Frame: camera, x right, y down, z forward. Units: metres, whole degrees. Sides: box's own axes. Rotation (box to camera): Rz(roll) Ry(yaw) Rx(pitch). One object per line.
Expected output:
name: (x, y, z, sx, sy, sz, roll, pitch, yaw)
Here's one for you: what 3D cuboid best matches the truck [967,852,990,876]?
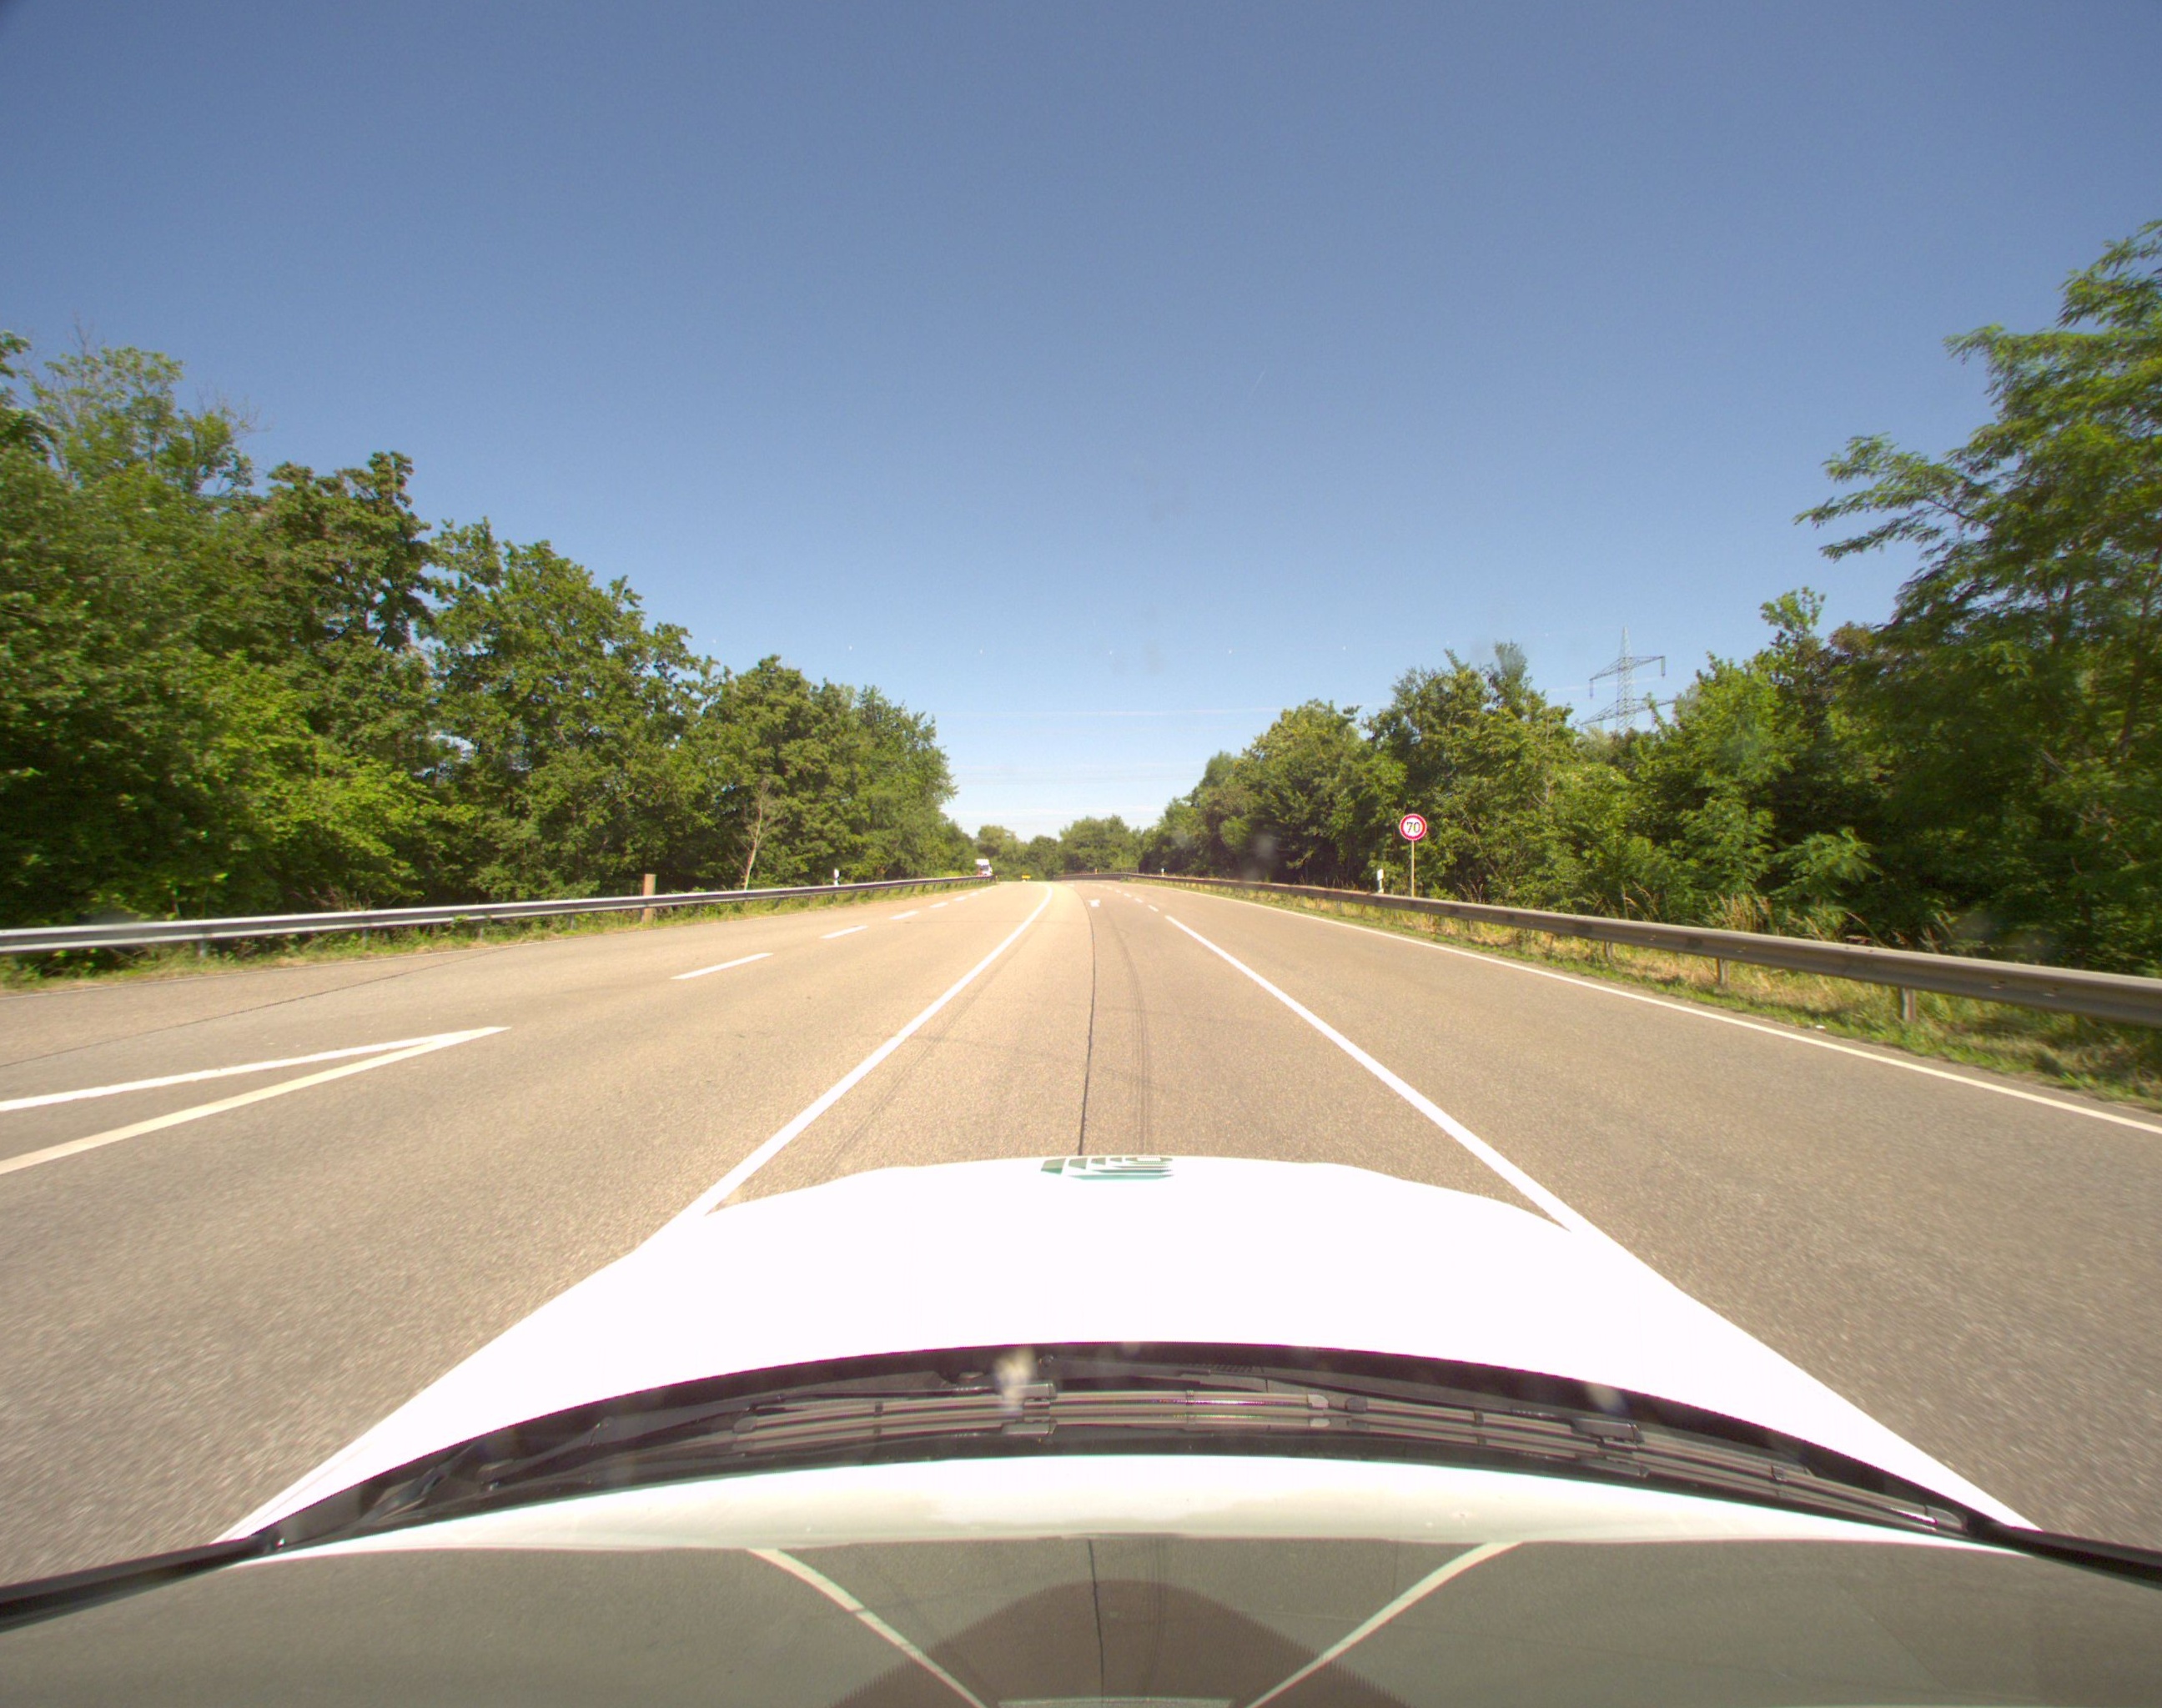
truck: (-18.232, 1.781, 144.627, 2.780, 4.034, 5.811, 0, -1, -22)
